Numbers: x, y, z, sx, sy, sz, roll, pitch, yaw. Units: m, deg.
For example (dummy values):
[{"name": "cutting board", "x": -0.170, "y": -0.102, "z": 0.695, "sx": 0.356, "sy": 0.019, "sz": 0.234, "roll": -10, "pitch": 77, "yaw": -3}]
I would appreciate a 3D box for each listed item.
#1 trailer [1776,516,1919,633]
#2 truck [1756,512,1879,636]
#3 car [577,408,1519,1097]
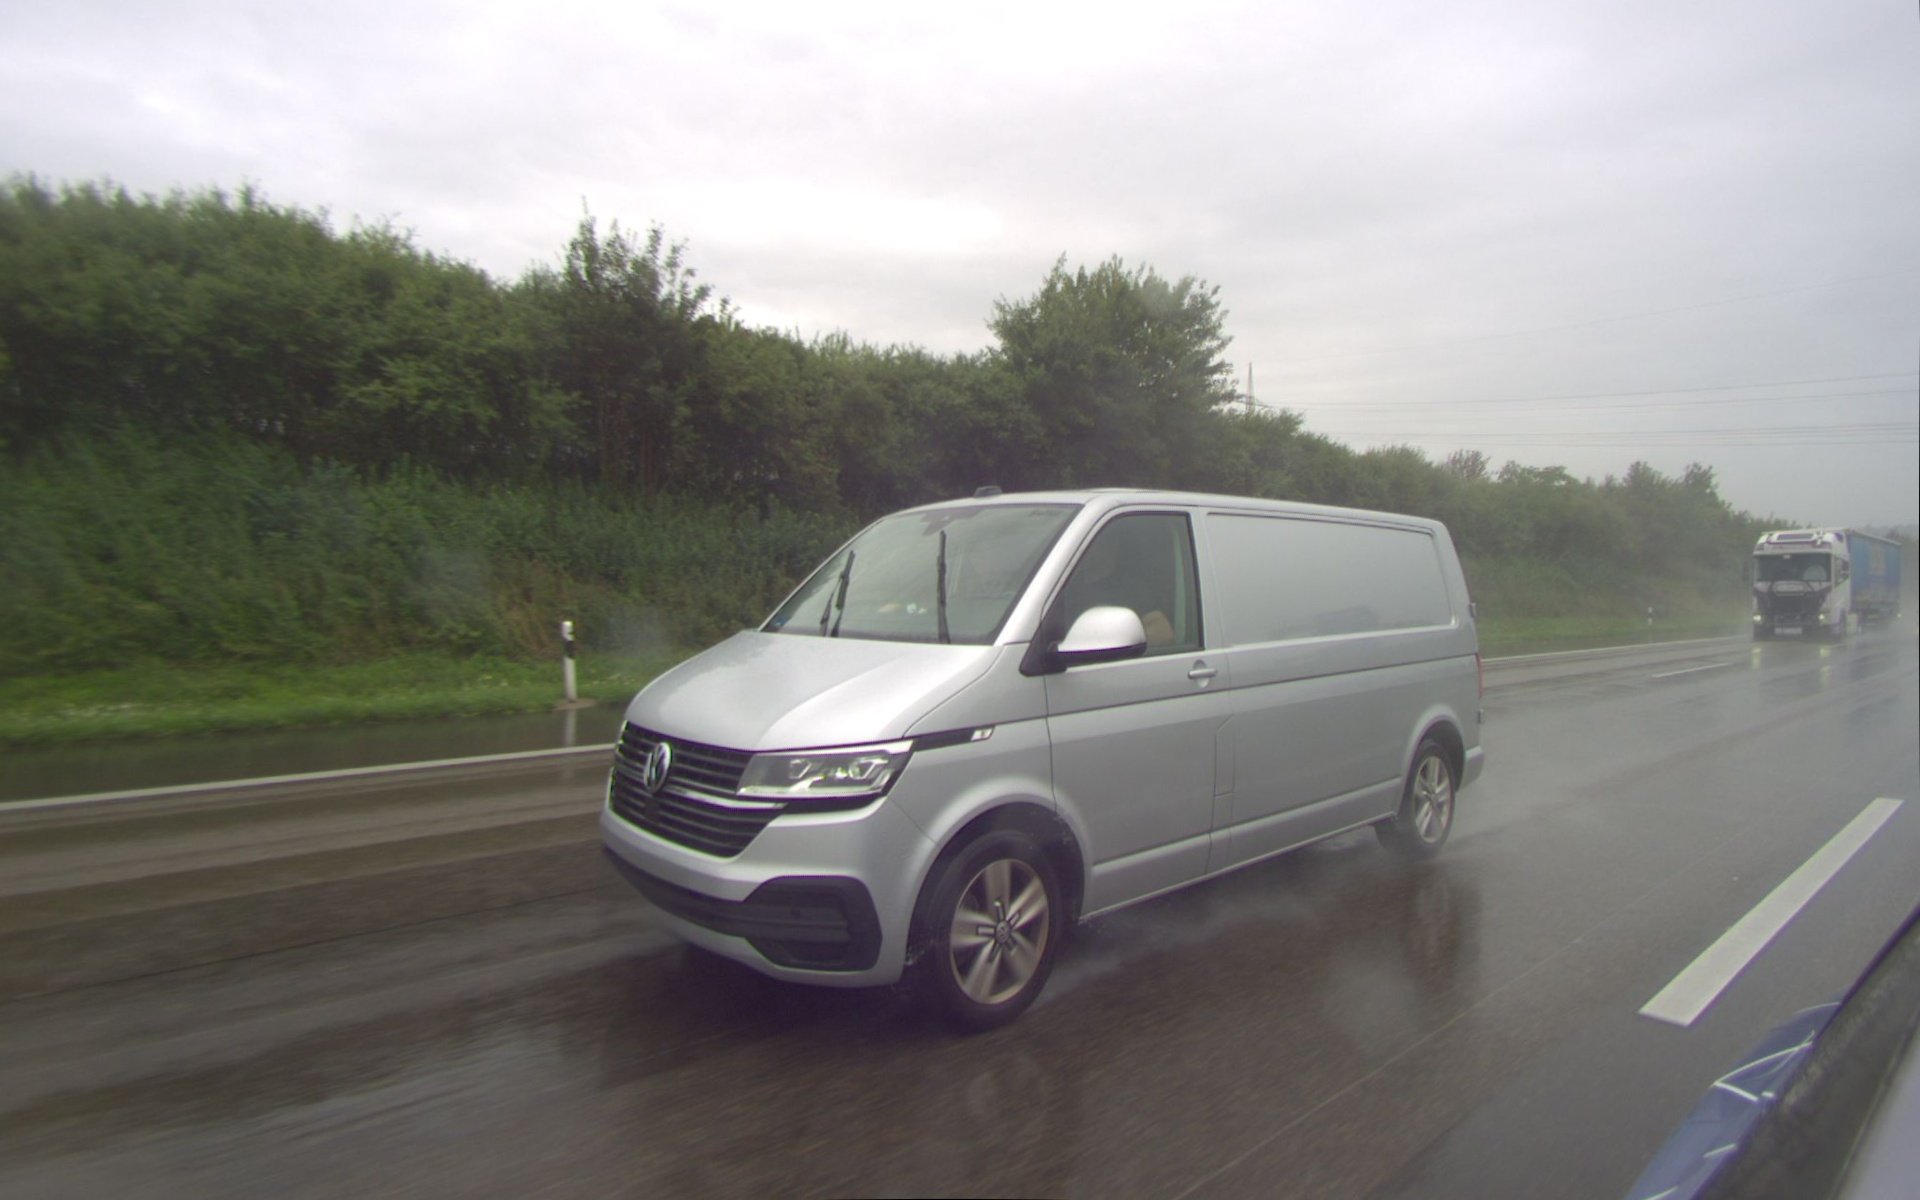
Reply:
[{"name": "trailer", "x": 36.610, "y": -0.976, "z": 41.461, "sx": 13.550, "sy": 4.139, "sz": 2.617, "roll": 0, "pitch": 1, "yaw": -41}, {"name": "truck", "x": 31.037, "y": -0.917, "z": 36.577, "sx": 5.147, "sy": 4.139, "sz": 2.617, "roll": 0, "pitch": 1, "yaw": -41}, {"name": "car", "x": 0.862, "y": 0.386, "z": 5.141, "sx": 4.922, "sy": 1.907, "sz": 1.891, "roll": 0, "pitch": 1, "yaw": -41}]
